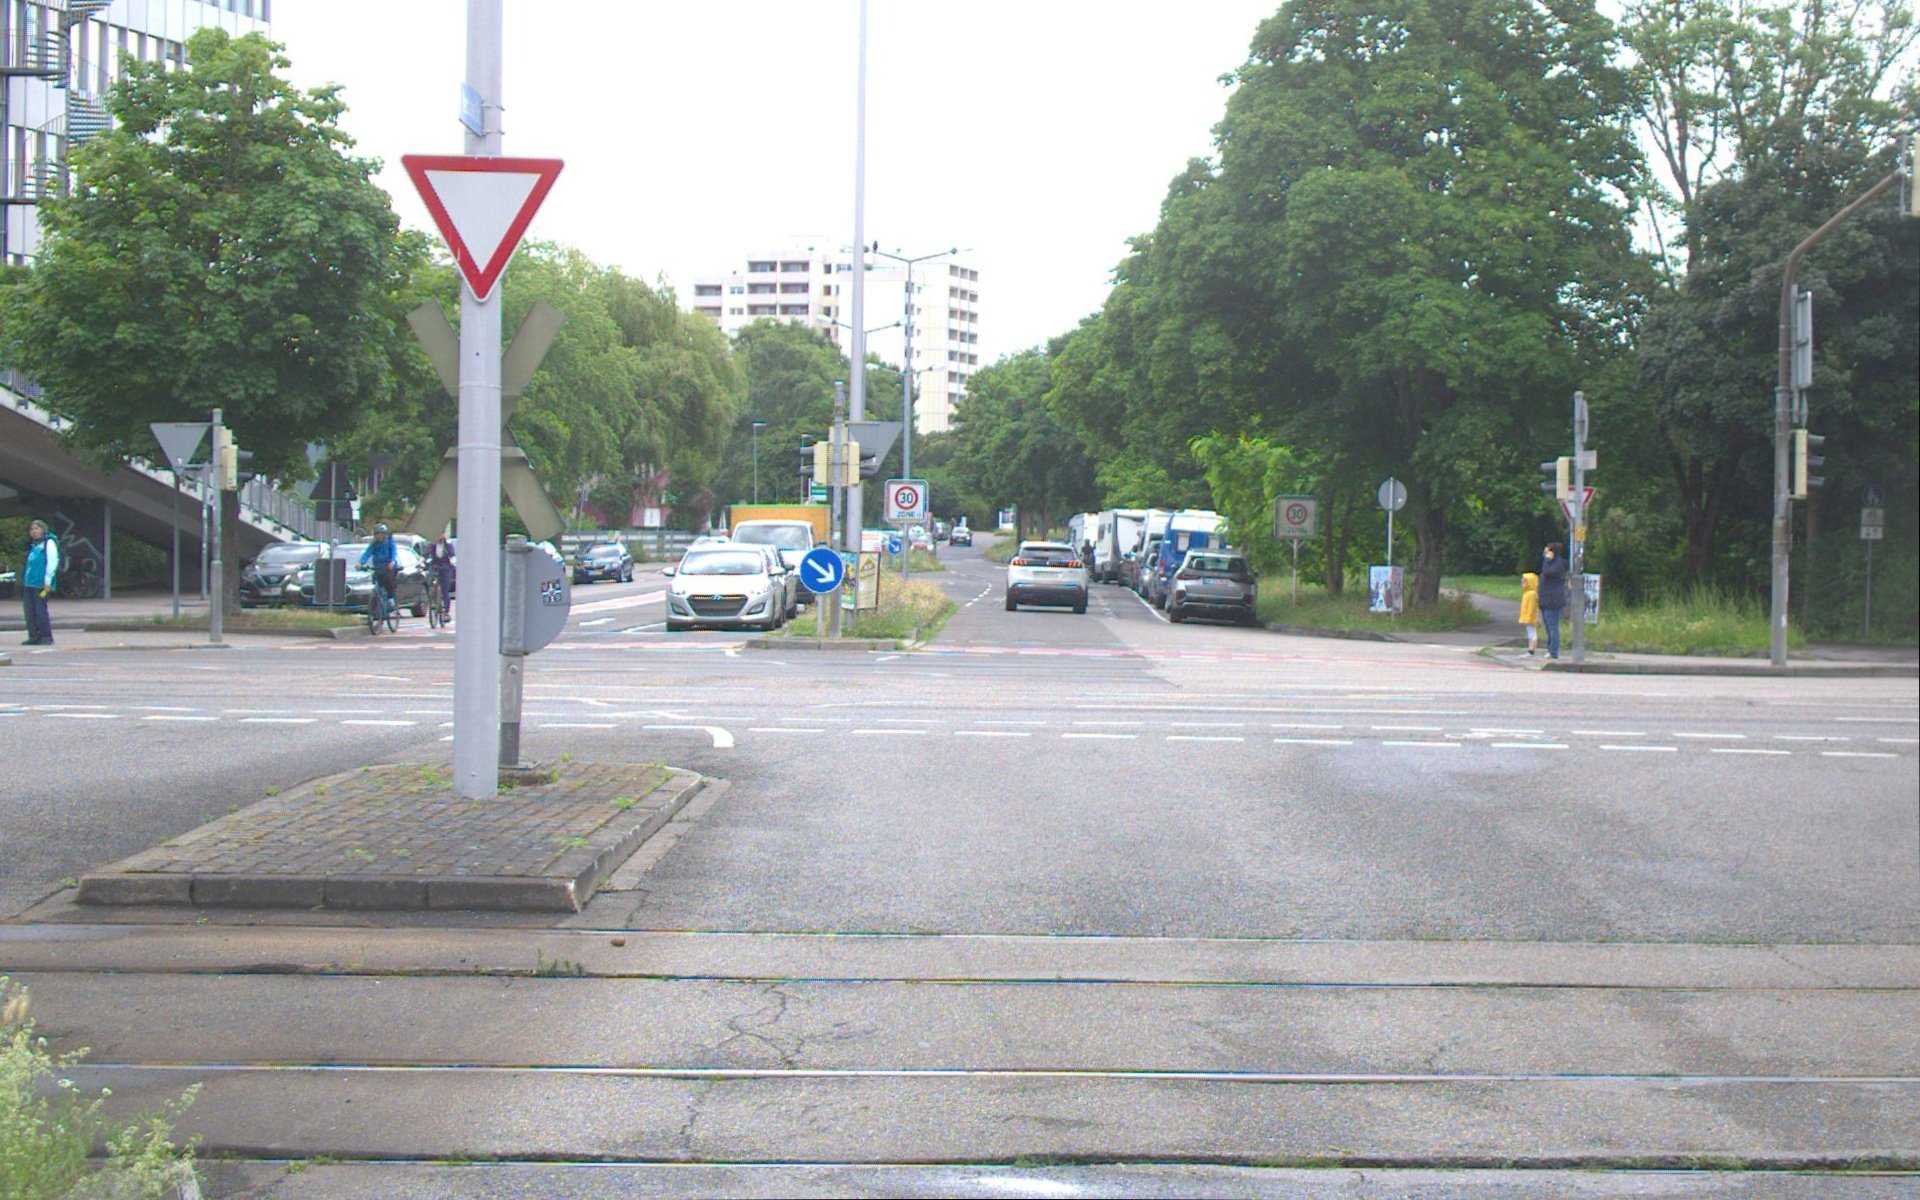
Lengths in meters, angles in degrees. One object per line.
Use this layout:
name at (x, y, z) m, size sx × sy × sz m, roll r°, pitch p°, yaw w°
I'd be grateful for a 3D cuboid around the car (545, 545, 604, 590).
car at (-14.092, -1.200, 125.840) m, size 1.671 × 1.546 × 4.000 m, roll 1°, pitch 1°, yaw 0°

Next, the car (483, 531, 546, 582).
car at (-13.955, -1.386, 107.875) m, size 1.444 × 1.546 × 3.664 m, roll 1°, pitch 1°, yaw 0°

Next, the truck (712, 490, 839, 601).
truck at (-3.809, -1.153, 72.011) m, size 2.155 × 2.191 × 5.840 m, roll 1°, pitch 1°, yaw 1°

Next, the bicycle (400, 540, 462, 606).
bicycle at (-9.045, -0.473, 58.845) m, size 0.726 × 1.097 × 2.264 m, roll 1°, pitch 1°, yaw -1°

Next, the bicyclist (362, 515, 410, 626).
bicyclist at (-9.278, -0.479, 55.551) m, size 0.644 × 1.762 × 0.647 m, roll 1°, pitch 1°, yaw -1°

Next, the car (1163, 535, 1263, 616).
car at (5.404, -0.543, 73.921) m, size 1.784 × 1.656 × 4.000 m, roll 1°, pitch 1°, yaw -1°

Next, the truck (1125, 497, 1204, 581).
truck at (7.109, -2.119, 120.054) m, size 1.993 × 2.828 × 5.732 m, roll 1°, pitch 1°, yaw -4°

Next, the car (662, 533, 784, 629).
car at (-3.956, -0.353, 57.896) m, size 1.789 × 1.514 × 4.326 m, roll 1°, pitch 1°, yaw -1°

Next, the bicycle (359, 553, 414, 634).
bicycle at (-9.279, -0.114, 55.647) m, size 0.543 × 1.263 × 2.111 m, roll 1°, pitch 1°, yaw -1°

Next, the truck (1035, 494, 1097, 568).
truck at (4.395, -2.854, 142.914) m, size 1.993 × 2.998 × 5.773 m, roll 1°, pitch 1°, yaw -4°

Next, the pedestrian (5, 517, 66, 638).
pedestrian at (-12.314, -0.302, 45.809) m, size 0.687 × 1.599 × 0.488 m, roll 1°, pitch 1°, yaw -5°

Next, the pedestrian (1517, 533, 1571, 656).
pedestrian at (8.360, -0.082, 49.240) m, size 0.657 × 1.744 × 0.459 m, roll 1°, pitch 1°, yaw -1°

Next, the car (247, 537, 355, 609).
car at (-14.848, -0.621, 77.638) m, size 1.671 × 1.546 × 3.892 m, roll 1°, pitch 1°, yaw 0°

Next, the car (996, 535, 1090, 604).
car at (1.893, -0.725, 79.747) m, size 2.020 × 1.500 × 4.000 m, roll 1°, pitch 1°, yaw -1°

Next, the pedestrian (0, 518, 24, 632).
pedestrian at (-12.989, -0.343, 45.883) m, size 0.917 × 1.505 × 0.404 m, roll 1°, pitch 1°, yaw -11°

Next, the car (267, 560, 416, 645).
car at (-11.997, 0.022, 66.894) m, size 1.672 × 1.546 × 3.999 m, roll 1°, pitch 1°, yaw 8°

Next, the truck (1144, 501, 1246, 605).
truck at (6.159, -1.238, 90.713) m, size 2.174 × 2.647 × 6.247 m, roll 0°, pitch 1°, yaw -1°

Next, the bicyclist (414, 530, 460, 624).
bicyclist at (-9.022, -0.399, 59.317) m, size 0.679 × 1.589 × 0.695 m, roll 1°, pitch 0°, yaw -1°

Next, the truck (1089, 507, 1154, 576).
truck at (6.172, -2.246, 132.128) m, size 1.993 × 2.564 × 5.379 m, roll 1°, pitch 1°, yaw -2°

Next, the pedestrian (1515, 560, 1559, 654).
pedestrian at (8.370, 0.102, 49.888) m, size 0.527 × 1.337 × 0.525 m, roll 1°, pitch 1°, yaw -1°
